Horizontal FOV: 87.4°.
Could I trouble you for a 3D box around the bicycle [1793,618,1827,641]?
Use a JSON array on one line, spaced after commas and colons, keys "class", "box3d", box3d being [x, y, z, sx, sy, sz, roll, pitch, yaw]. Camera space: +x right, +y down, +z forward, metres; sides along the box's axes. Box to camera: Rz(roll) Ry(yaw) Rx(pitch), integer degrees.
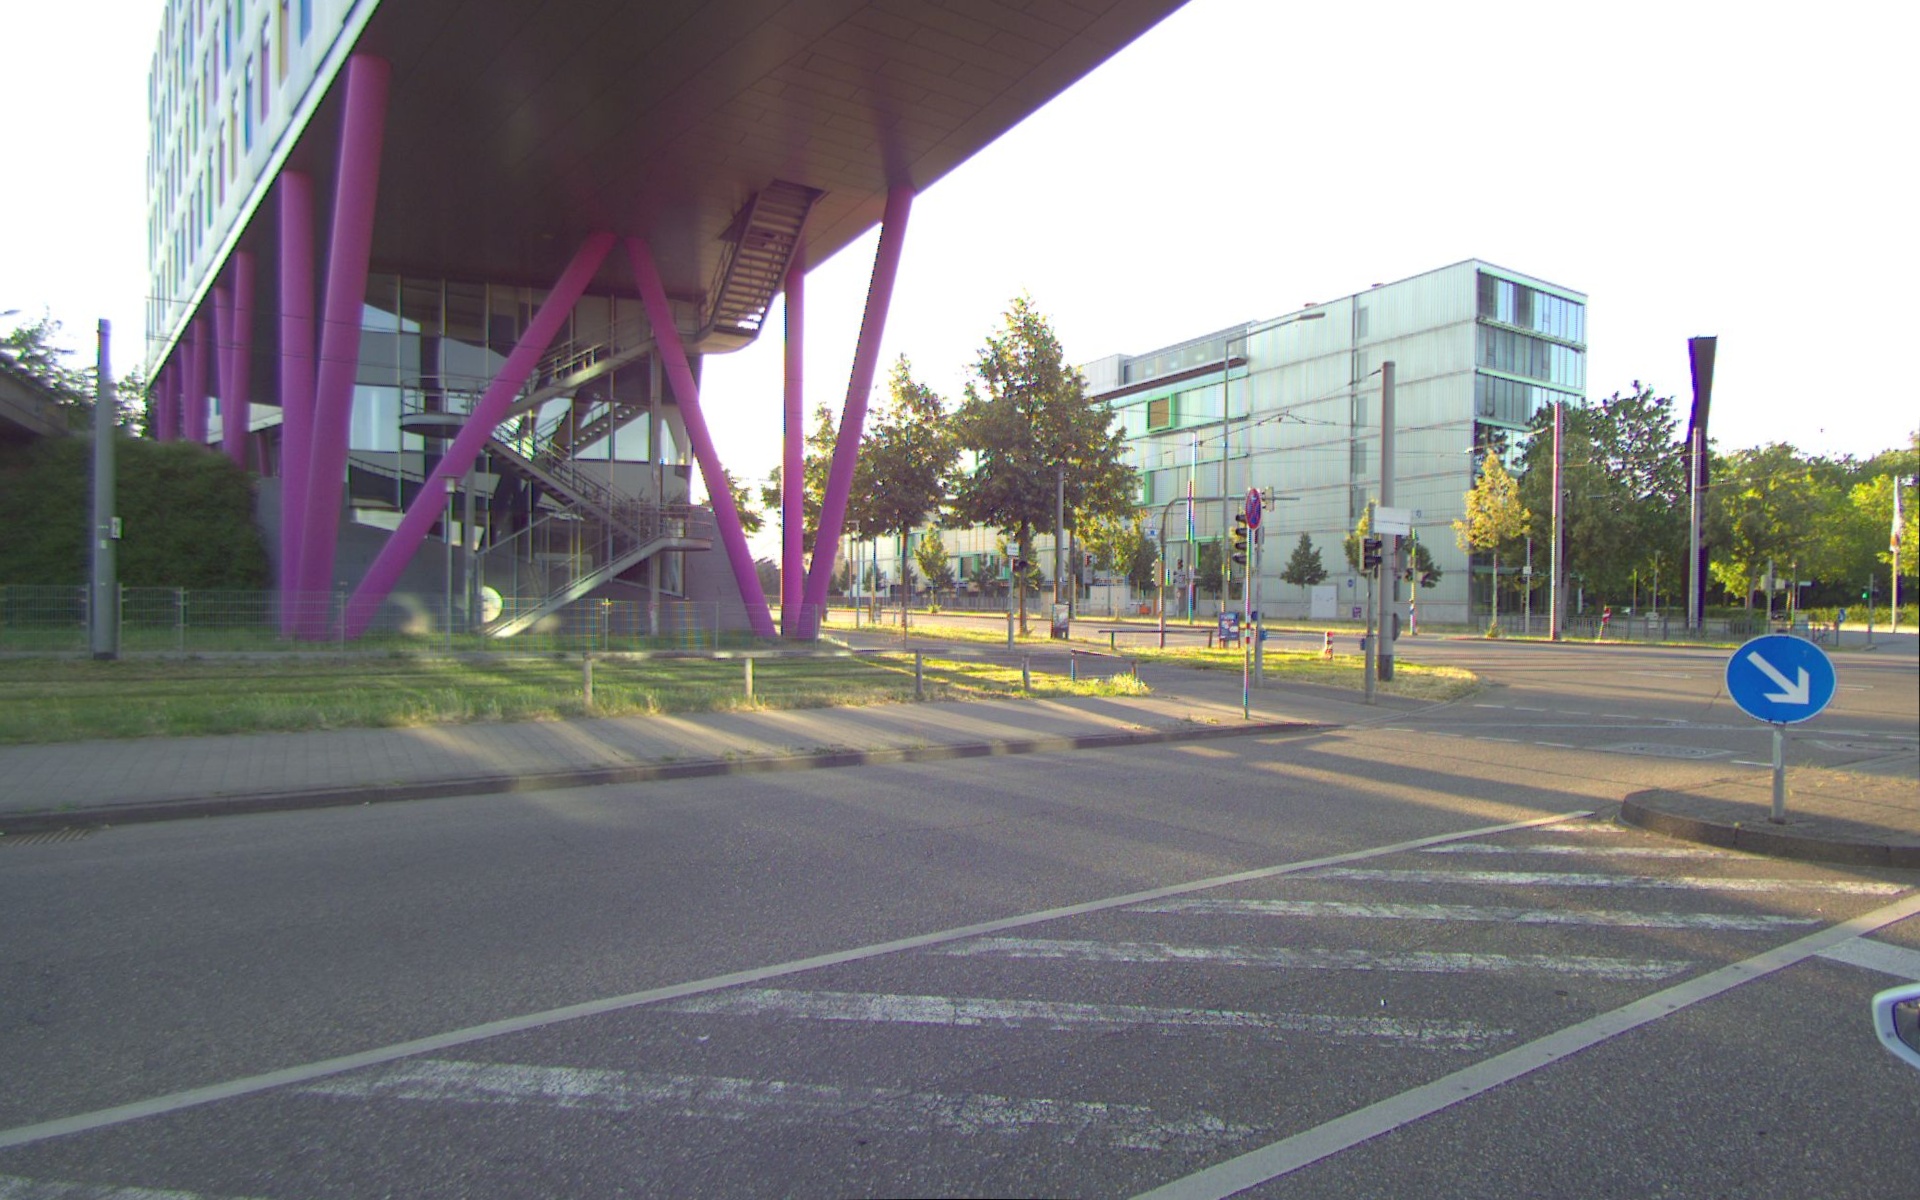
[{"class": "bicycle", "box3d": [43.758, 1.496, 51.686, 2.367, 1.151, 0.695, 1, 0, -33]}]
